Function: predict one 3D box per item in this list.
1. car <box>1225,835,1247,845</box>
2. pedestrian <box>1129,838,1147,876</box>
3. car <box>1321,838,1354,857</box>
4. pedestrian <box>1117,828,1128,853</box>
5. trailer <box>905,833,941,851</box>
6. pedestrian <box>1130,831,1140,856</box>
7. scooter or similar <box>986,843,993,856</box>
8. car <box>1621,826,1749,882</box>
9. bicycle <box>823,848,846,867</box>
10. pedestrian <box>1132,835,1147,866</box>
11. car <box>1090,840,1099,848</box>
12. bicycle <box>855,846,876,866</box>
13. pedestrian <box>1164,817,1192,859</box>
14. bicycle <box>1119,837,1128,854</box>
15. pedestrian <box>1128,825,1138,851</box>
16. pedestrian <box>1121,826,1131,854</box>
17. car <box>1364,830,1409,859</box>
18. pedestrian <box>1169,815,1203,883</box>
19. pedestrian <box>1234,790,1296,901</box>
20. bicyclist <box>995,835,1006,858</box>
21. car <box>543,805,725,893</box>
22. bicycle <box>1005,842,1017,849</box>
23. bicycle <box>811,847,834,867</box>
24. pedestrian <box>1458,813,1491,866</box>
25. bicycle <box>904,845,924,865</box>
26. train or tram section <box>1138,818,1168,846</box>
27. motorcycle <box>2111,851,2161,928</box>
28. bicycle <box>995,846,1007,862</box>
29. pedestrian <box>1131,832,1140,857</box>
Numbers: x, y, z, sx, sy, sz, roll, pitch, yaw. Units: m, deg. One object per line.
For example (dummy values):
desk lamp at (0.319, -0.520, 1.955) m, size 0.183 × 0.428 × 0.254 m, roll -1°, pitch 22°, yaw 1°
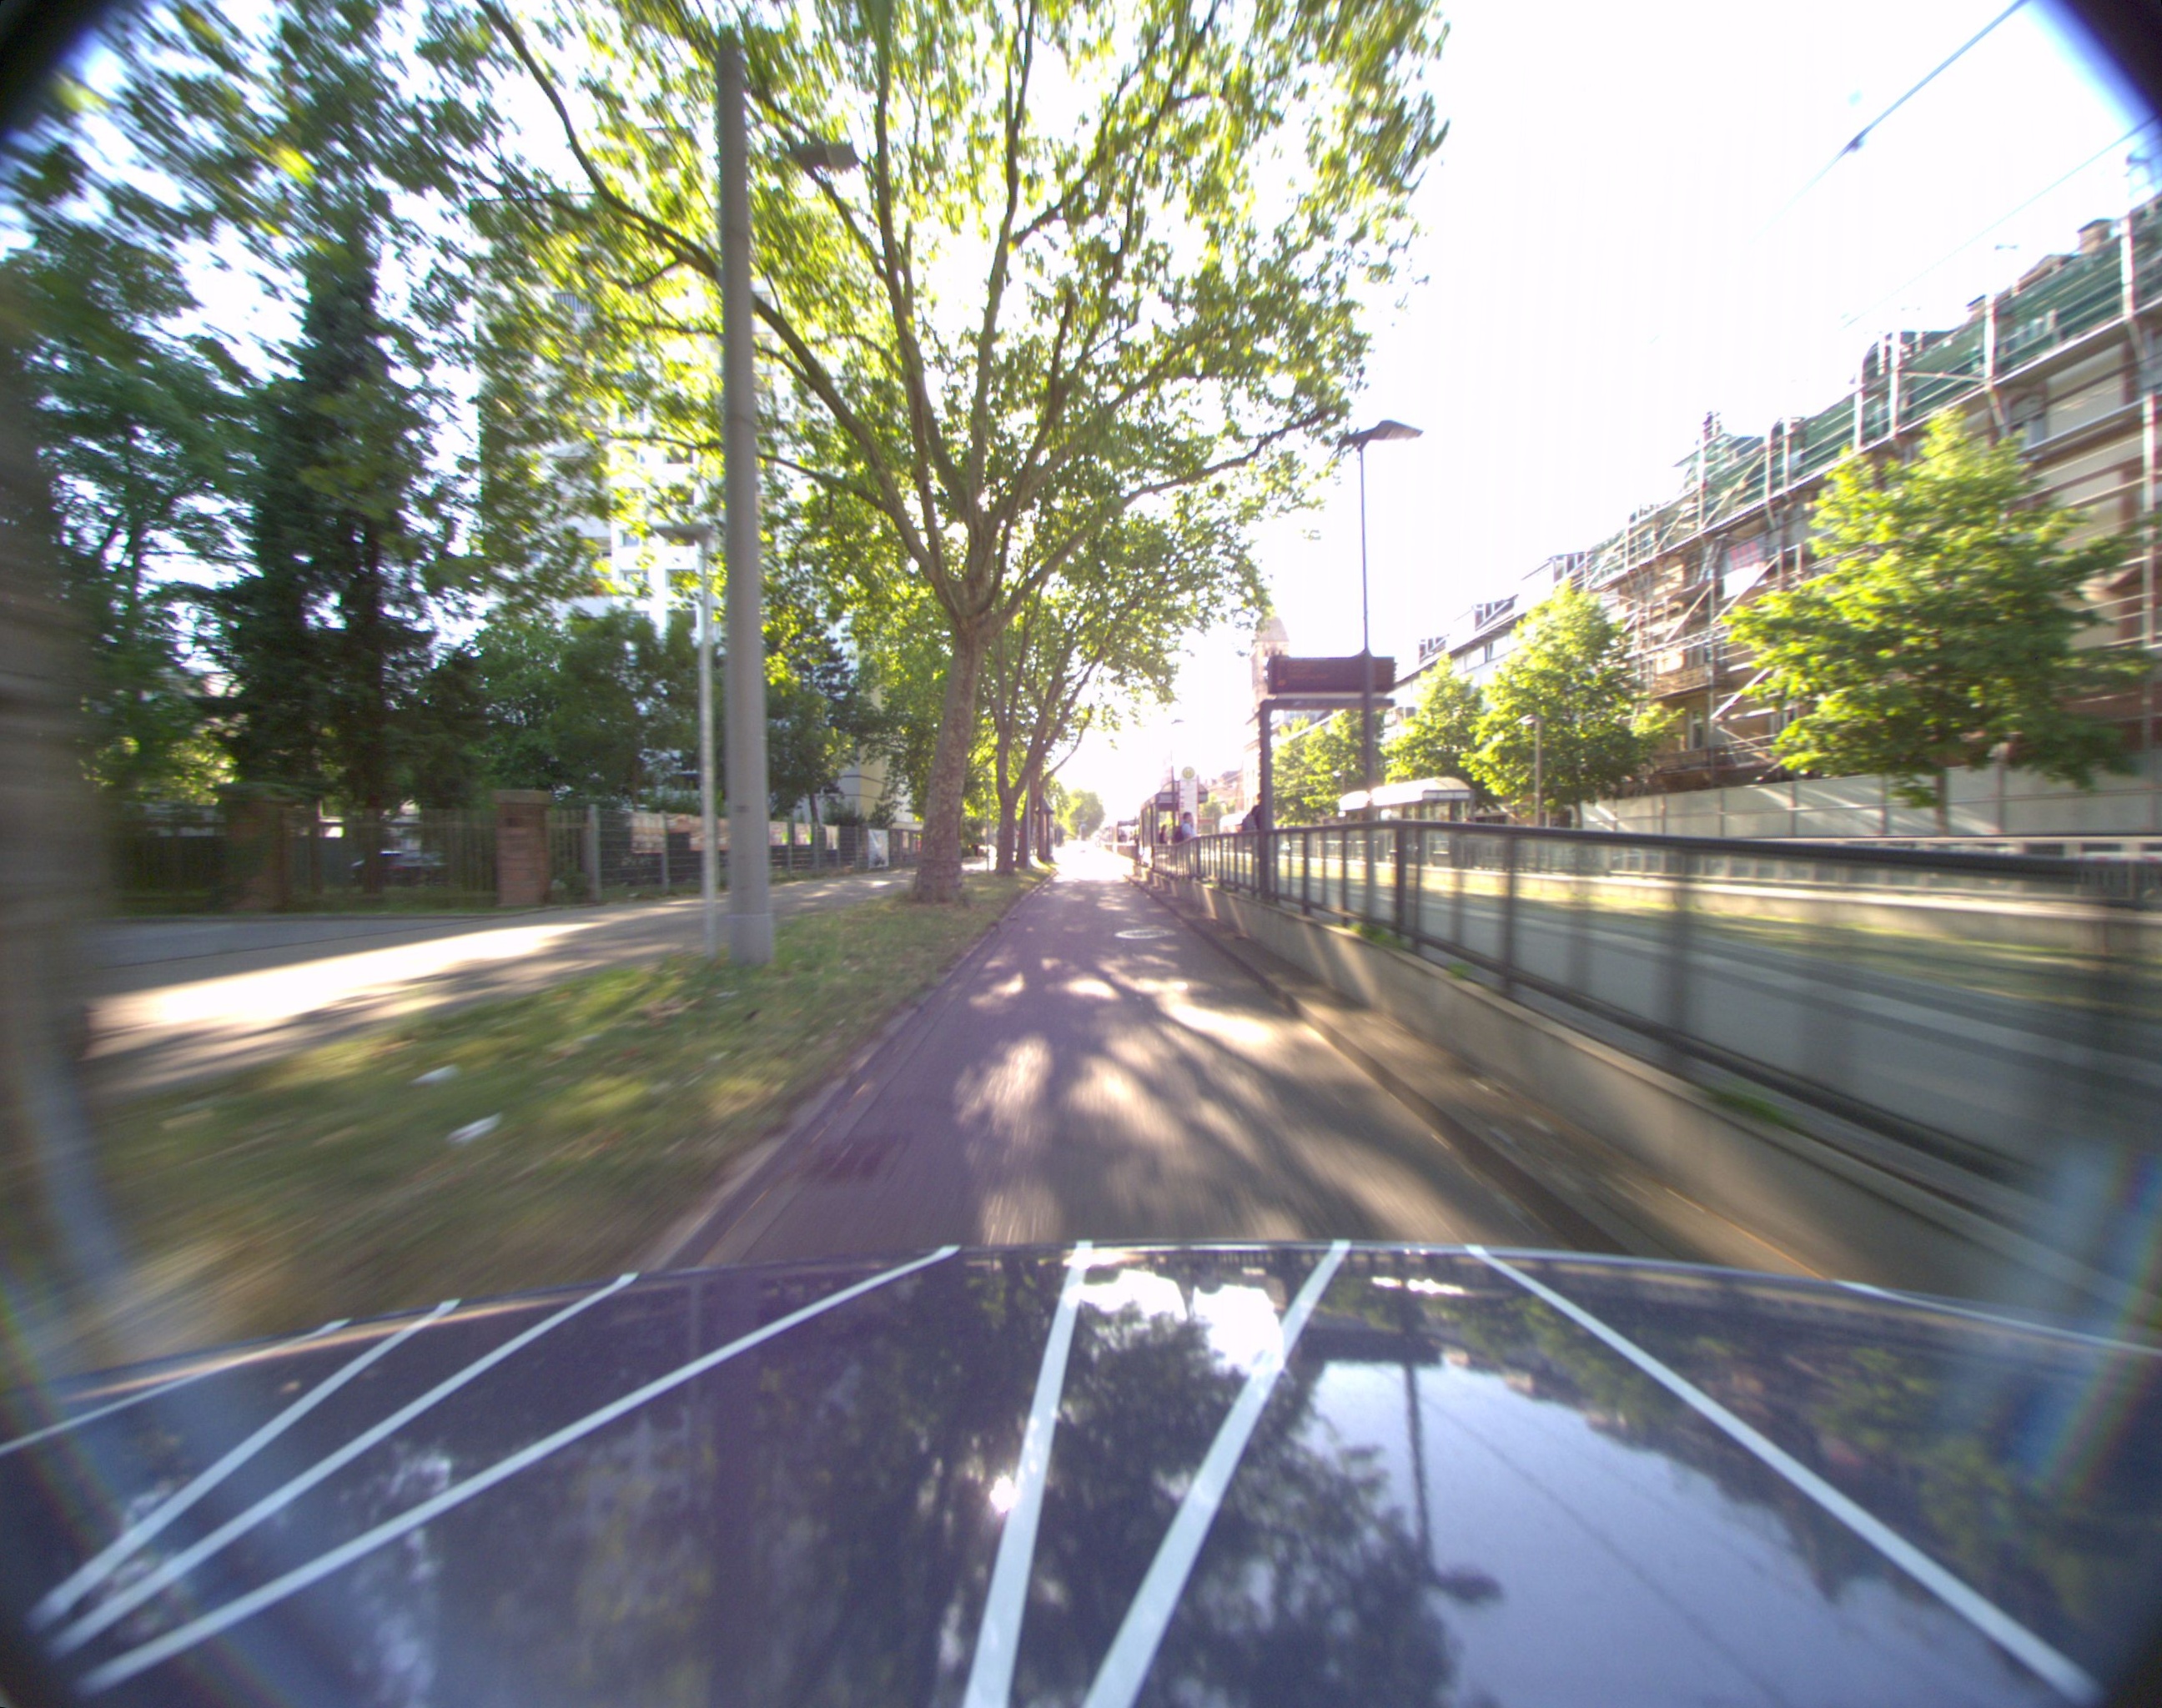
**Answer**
car at (31.699, -2.862, 155.689) m, size 4.024 × 1.796 × 1.870 m, roll -3°, pitch 2°, yaw 1°
pedestrian at (2.717, 0.135, 36.313) m, size 0.767 × 1.749 × 0.694 m, roll -3°, pitch 2°, yaw 0°
car at (24.020, -0.643, 71.338) m, size 1.811 × 1.668 × 3.784 m, roll -3°, pitch 1°, yaw 0°
pedestrian at (3.294, -1.077, 60.175) m, size 0.671 × 1.892 × 0.824 m, roll -3°, pitch 2°, yaw -4°
trailer at (-21.866, -1.661, 105.204) m, size 4.520 × 2.360 × 1.910 m, roll -2°, pitch 1°, yaw -21°
pedestrian at (3.751, -0.759, 53.037) m, size 0.550 × 1.698 × 0.599 m, roll -3°, pitch 2°, yaw -3°
scooter or similar at (-8.845, -0.440, 73.666) m, size 0.562 × 1.250 × 1.289 m, roll 0°, pitch 2°, yaw -3°
car at (23.967, -0.044, 30.344) m, size 1.998 × 2.002 × 3.999 m, roll -3°, pitch 1°, yaw 2°
bicycle at (-15.643, 0.208, 48.293) m, size 0.791 × 1.171 × 1.820 m, roll -3°, pitch 2°, yaw 0°
pedestrian at (3.054, -0.183, 39.852) m, size 0.680 × 1.553 × 0.851 m, roll -3°, pitch 2°, yaw 0°
car at (2.549, -1.975, 148.163) m, size 1.636 × 1.491 × 3.999 m, roll -1°, pitch 1°, yaw 0°
bicycle at (-13.736, 0.112, 48.500) m, size 0.791 × 1.171 × 1.820 m, roll -3°, pitch 2°, yaw 0°
pedestrian at (4.052, -0.662, 31.674) m, size 0.912 × 1.712 × 0.630 m, roll -4°, pitch 2°, yaw -33°
bicycle at (2.990, -0.594, 53.473) m, size 0.514 × 1.127 × 2.103 m, roll -3°, pitch 1°, yaw 0°
pedestrian at (3.765, -1.154, 54.570) m, size 0.600 × 1.790 × 0.824 m, roll -3°, pitch 2°, yaw 6°
pedestrian at (3.304, -1.007, 55.164) m, size 0.600 × 1.985 × 0.824 m, roll -3°, pitch 2°, yaw 6°
car at (23.960, -0.768, 59.763) m, size 1.945 × 2.154 × 3.784 m, roll -3°, pitch 1°, yaw 0°
pedestrian at (2.691, -0.130, 19.494) m, size 0.681 × 1.681 × 0.894 m, roll -3°, pitch 2°, yaw 0°
pedestrian at (2.903, -0.134, 12.031) m, size 0.758 × 1.681 × 0.678 m, roll -3°, pitch 2°, yaw 0°
bicyclist at (-5.435, -0.513, 51.475) m, size 0.604 × 1.542 × 0.859 m, roll -1°, pitch 2°, yaw -1°
car at (-14.643, -0.226, 25.532) m, size 1.998 × 2.485 × 6.346 m, roll -3°, pitch 1°, yaw 3°
bicycle at (-11.619, -1.427, 126.305) m, size 1.827 × 1.048 × 0.534 m, roll -2°, pitch 2°, yaw -26°
bicycle at (-16.477, 0.176, 48.439) m, size 0.791 × 1.171 × 1.820 m, roll -3°, pitch 2°, yaw 0°
pedestrian at (12.936, -0.470, 25.004) m, size 0.681 × 1.681 × 0.654 m, roll -3°, pitch 2°, yaw -2°
bicycle at (-10.622, 0.041, 48.271) m, size 0.791 × 1.171 × 1.820 m, roll -3°, pitch 2°, yaw 0°
train or tram section at (9.967, -3.036, 106.172) m, size 2.877 × 3.665 × 14.556 m, roll -1°, pitch 1°, yaw 1°
motorcycle at (15.928, 0.524, 10.222) m, size 0.820 × 1.067 × 2.400 m, roll -3°, pitch 1°, yaw -4°
bicycle at (-5.423, -0.030, 51.425) m, size 0.604 × 1.020 × 1.766 m, roll -1°, pitch 1°, yaw -1°
pedestrian at (3.759, -0.630, 52.341) m, size 0.507 × 1.698 × 0.729 m, roll -3°, pitch 2°, yaw -3°
